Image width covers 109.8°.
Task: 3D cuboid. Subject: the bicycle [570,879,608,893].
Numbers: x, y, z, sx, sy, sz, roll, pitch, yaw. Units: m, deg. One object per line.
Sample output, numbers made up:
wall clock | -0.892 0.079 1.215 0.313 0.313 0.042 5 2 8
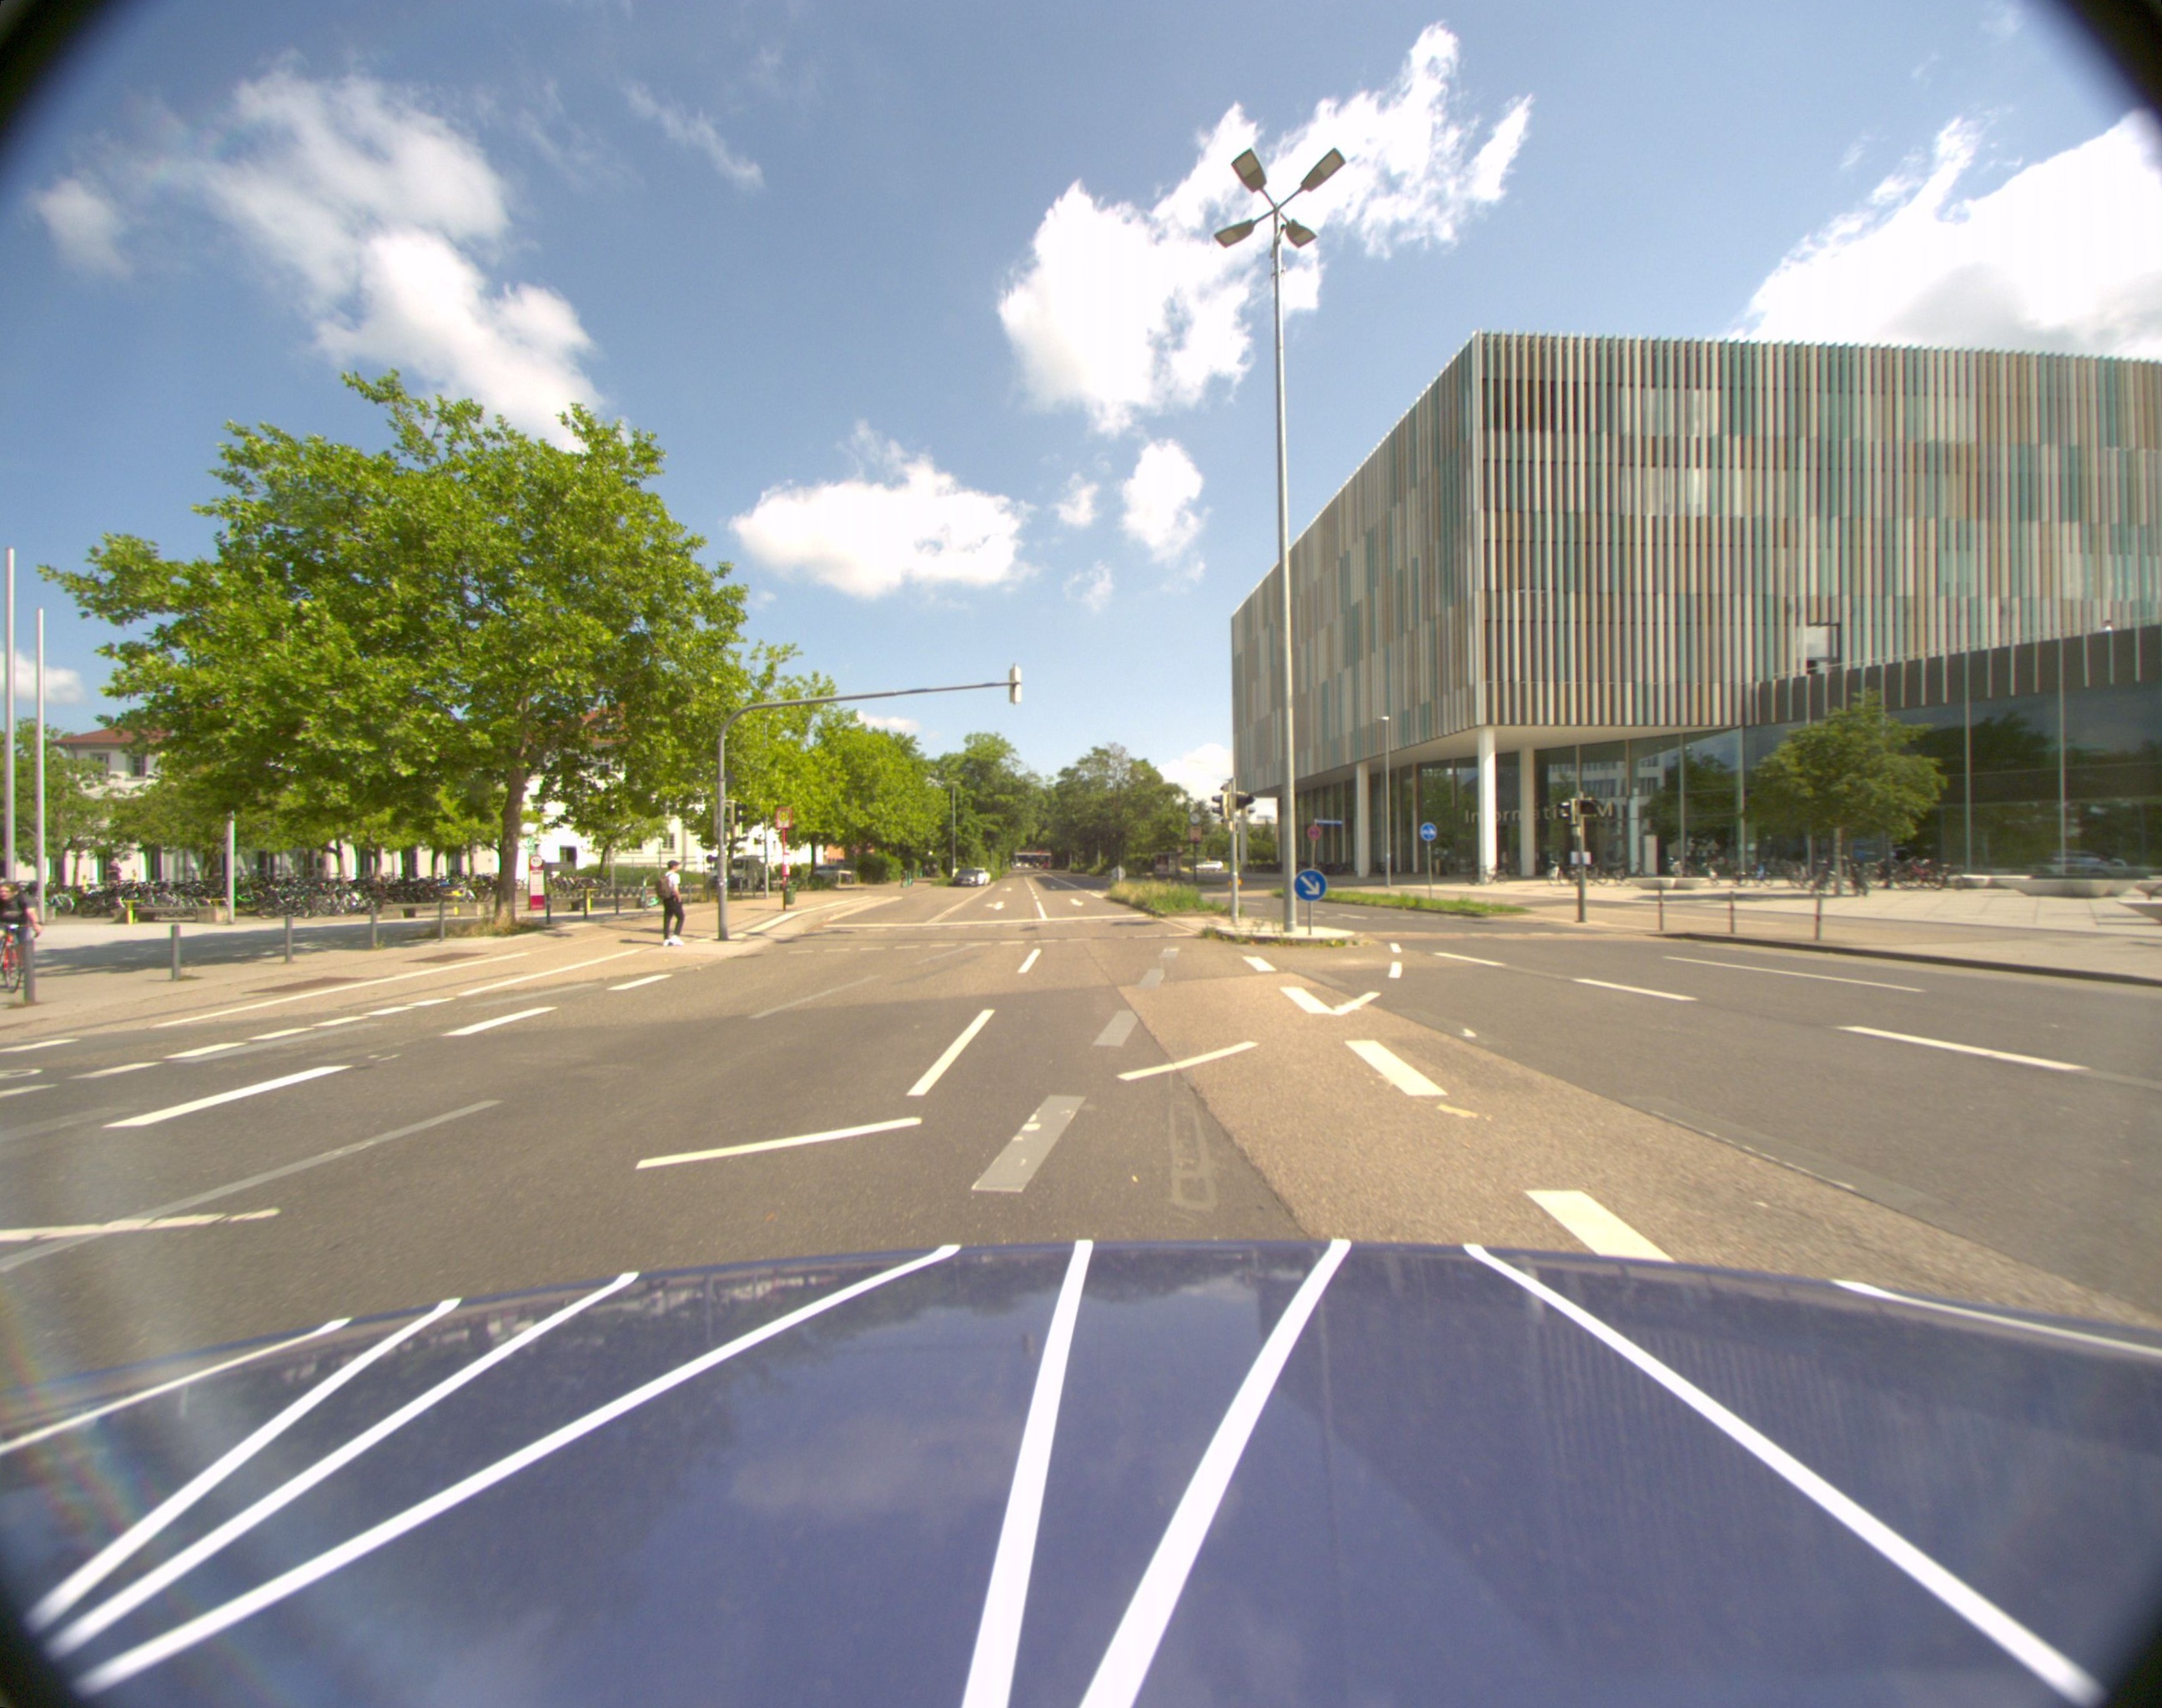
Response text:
bicycle | -27.454 1.786 42.409 1.673 0.729 0.626 -1 0 -8

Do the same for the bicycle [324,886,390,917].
bicycle | -26.421 1.725 27.734 1.673 1.090 0.626 -1 0 -8

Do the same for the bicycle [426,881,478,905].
bicycle | -27.358 1.681 33.062 1.673 0.966 0.626 -1 0 -8

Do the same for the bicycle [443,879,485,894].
bicycle | -33.525 1.761 41.311 1.673 0.785 0.626 -1 0 -8

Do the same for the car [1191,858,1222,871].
car | 17.428 1.480 105.553 3.998 1.676 1.646 -1 0 -2

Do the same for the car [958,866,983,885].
car | -8.449 1.605 58.209 1.709 1.321 3.998 1 0 -6

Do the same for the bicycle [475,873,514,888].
bicycle | -33.773 1.522 43.779 1.673 0.785 0.626 -1 0 -8

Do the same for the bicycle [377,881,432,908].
bicycle | -29.405 1.763 33.036 1.673 1.090 0.626 -1 0 -8

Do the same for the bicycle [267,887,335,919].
bicycle | -28.514 1.769 27.790 1.673 1.090 0.626 -1 0 -8

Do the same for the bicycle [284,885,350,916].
bicycle | -28.627 1.739 28.481 1.673 1.090 0.626 -1 0 -8

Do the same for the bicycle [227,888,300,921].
bicycle | -28.331 1.746 26.350 1.673 1.090 0.626 -1 0 -8

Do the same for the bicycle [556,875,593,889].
bicycle | -29.573 1.621 44.341 1.673 0.785 0.626 -1 0 -8

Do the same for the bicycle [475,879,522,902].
bicycle | -27.763 1.734 36.215 1.673 1.022 0.626 -1 0 -8

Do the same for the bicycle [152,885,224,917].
bicycle | -32.510 1.697 27.670 1.673 1.090 0.626 -1 0 -9

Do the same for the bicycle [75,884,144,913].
bicycle | -38.117 1.743 29.823 1.673 1.090 0.626 -1 0 -8

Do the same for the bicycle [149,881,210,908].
bicycle | -38.269 1.708 32.271 1.673 1.090 0.626 -1 0 -8

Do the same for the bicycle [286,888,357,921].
bicycle | -26.344 1.744 26.365 1.673 1.090 0.626 -1 0 -8

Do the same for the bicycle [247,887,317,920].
bicycle | -28.428 1.762 27.053 1.673 1.090 0.626 -1 0 -8

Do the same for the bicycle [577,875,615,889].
bicycle | -27.581 1.580 43.233 1.673 0.729 0.626 -1 0 -8

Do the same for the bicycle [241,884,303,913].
bicycle | -32.752 1.802 30.794 1.673 1.090 0.626 -1 0 -8

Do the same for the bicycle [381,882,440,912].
bicycle | -26.656 1.704 30.216 1.673 1.090 0.626 -1 0 -8

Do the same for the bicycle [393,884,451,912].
bicycle | -26.779 1.788 30.886 1.673 1.090 0.626 -1 0 -8

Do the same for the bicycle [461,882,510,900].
bicycle | -27.650 1.728 35.312 1.673 0.785 0.626 -1 0 -8

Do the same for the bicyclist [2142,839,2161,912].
bicyclist | 22.040 0.416 15.093 0.944 1.456 0.633 -1 0 31

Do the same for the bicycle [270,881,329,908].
bicycle | -33.137 1.701 32.238 1.673 1.090 0.626 -1 0 -8

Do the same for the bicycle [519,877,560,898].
bicycle | -28.889 1.795 40.564 1.673 1.090 0.626 -1 0 -8

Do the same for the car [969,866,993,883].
car | -8.398 1.678 64.036 1.560 1.335 4.000 1 0 -1

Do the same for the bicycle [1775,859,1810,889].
bicycle | 28.345 0.776 30.294 0.745 1.131 2.323 -1 0 36

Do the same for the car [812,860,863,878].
car | -21.183 1.278 66.162 4.001 1.416 1.756 -1 0 -12

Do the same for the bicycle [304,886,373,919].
bicycle | -26.394 1.728 27.025 1.673 1.090 0.626 -1 0 -8

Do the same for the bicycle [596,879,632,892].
bicycle | -27.570 1.869 44.849 1.673 0.729 0.626 -1 0 -8

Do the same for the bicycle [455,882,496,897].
bicycle | -33.515 1.962 42.068 1.673 0.785 0.626 -1 0 -8

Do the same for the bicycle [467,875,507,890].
bicycle | -33.654 1.628 43.062 1.673 0.785 0.626 -1 0 -8

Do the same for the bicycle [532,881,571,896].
bicycle | -29.244 1.908 41.987 1.673 0.785 0.626 -1 0 -10

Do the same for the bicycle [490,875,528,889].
bicycle | -34.047 1.675 45.249 1.673 0.785 0.626 -1 0 -8

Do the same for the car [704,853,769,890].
car | -19.574 0.960 43.406 2.000 2.002 4.899 -1 0 -7

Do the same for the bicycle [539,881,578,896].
bicycle | -29.373 1.912 42.733 1.673 0.785 0.626 -1 0 -10

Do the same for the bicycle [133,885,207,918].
bicycle | -32.397 1.684 27.026 1.673 1.090 0.626 -1 0 -9

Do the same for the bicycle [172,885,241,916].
bicycle | -32.636 1.721 28.368 1.673 1.090 0.626 -1 0 -8

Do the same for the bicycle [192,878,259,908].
bicycle | -32.707 1.480 29.053 1.673 1.090 0.626 -1 0 -8

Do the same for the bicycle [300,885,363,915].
bicycle | -28.728 1.754 29.145 1.673 1.090 0.626 -1 0 -8

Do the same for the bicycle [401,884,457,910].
bicycle | -27.193 1.788 31.700 1.673 1.029 0.626 -1 0 -8

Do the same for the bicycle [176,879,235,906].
bicycle | -38.270 1.680 33.220 1.673 1.090 0.626 -1 0 -8

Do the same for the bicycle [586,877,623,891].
bicycle | -27.604 1.748 44.003 1.673 0.729 0.626 -1 0 -8

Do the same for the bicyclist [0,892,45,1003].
bicyclist | -15.261 1.317 10.765 0.916 1.498 0.614 -1 0 39

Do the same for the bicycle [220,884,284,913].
bicycle | -32.689 1.758 29.989 1.673 1.090 0.626 -1 0 -8

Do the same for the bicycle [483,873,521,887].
bicycle | -33.886 1.531 44.489 1.673 0.785 0.626 -1 0 -8

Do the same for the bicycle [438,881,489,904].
bicycle | -27.406 1.710 33.746 1.673 0.960 0.626 -1 0 -8

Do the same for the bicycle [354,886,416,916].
bicycle | -26.660 1.796 29.138 1.673 1.090 0.626 -1 0 -8

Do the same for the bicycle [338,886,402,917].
bicycle | -26.576 1.759 28.415 1.673 1.090 0.626 -1 0 -8

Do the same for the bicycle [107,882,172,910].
bicycle | -38.300 1.701 30.927 1.673 1.090 0.626 -1 0 -8

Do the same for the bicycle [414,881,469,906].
bicycle | -27.245 1.670 32.391 1.673 0.979 0.626 -1 0 -8

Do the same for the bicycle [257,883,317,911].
bicycle | -32.976 1.768 31.564 1.673 1.090 0.626 -1 0 -8

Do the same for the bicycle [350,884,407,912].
bicycle | -29.109 1.814 31.493 1.673 1.090 0.626 -1 0 -8

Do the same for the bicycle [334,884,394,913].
bicycle | -29.044 1.803 30.790 1.673 1.090 0.626 -1 0 -8

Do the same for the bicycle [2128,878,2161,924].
bicycle | 22.175 0.929 14.933 1.771 0.887 0.639 -1 0 31

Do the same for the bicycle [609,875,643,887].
bicycle | -27.482 1.629 45.900 1.673 0.729 0.626 -1 0 -8
